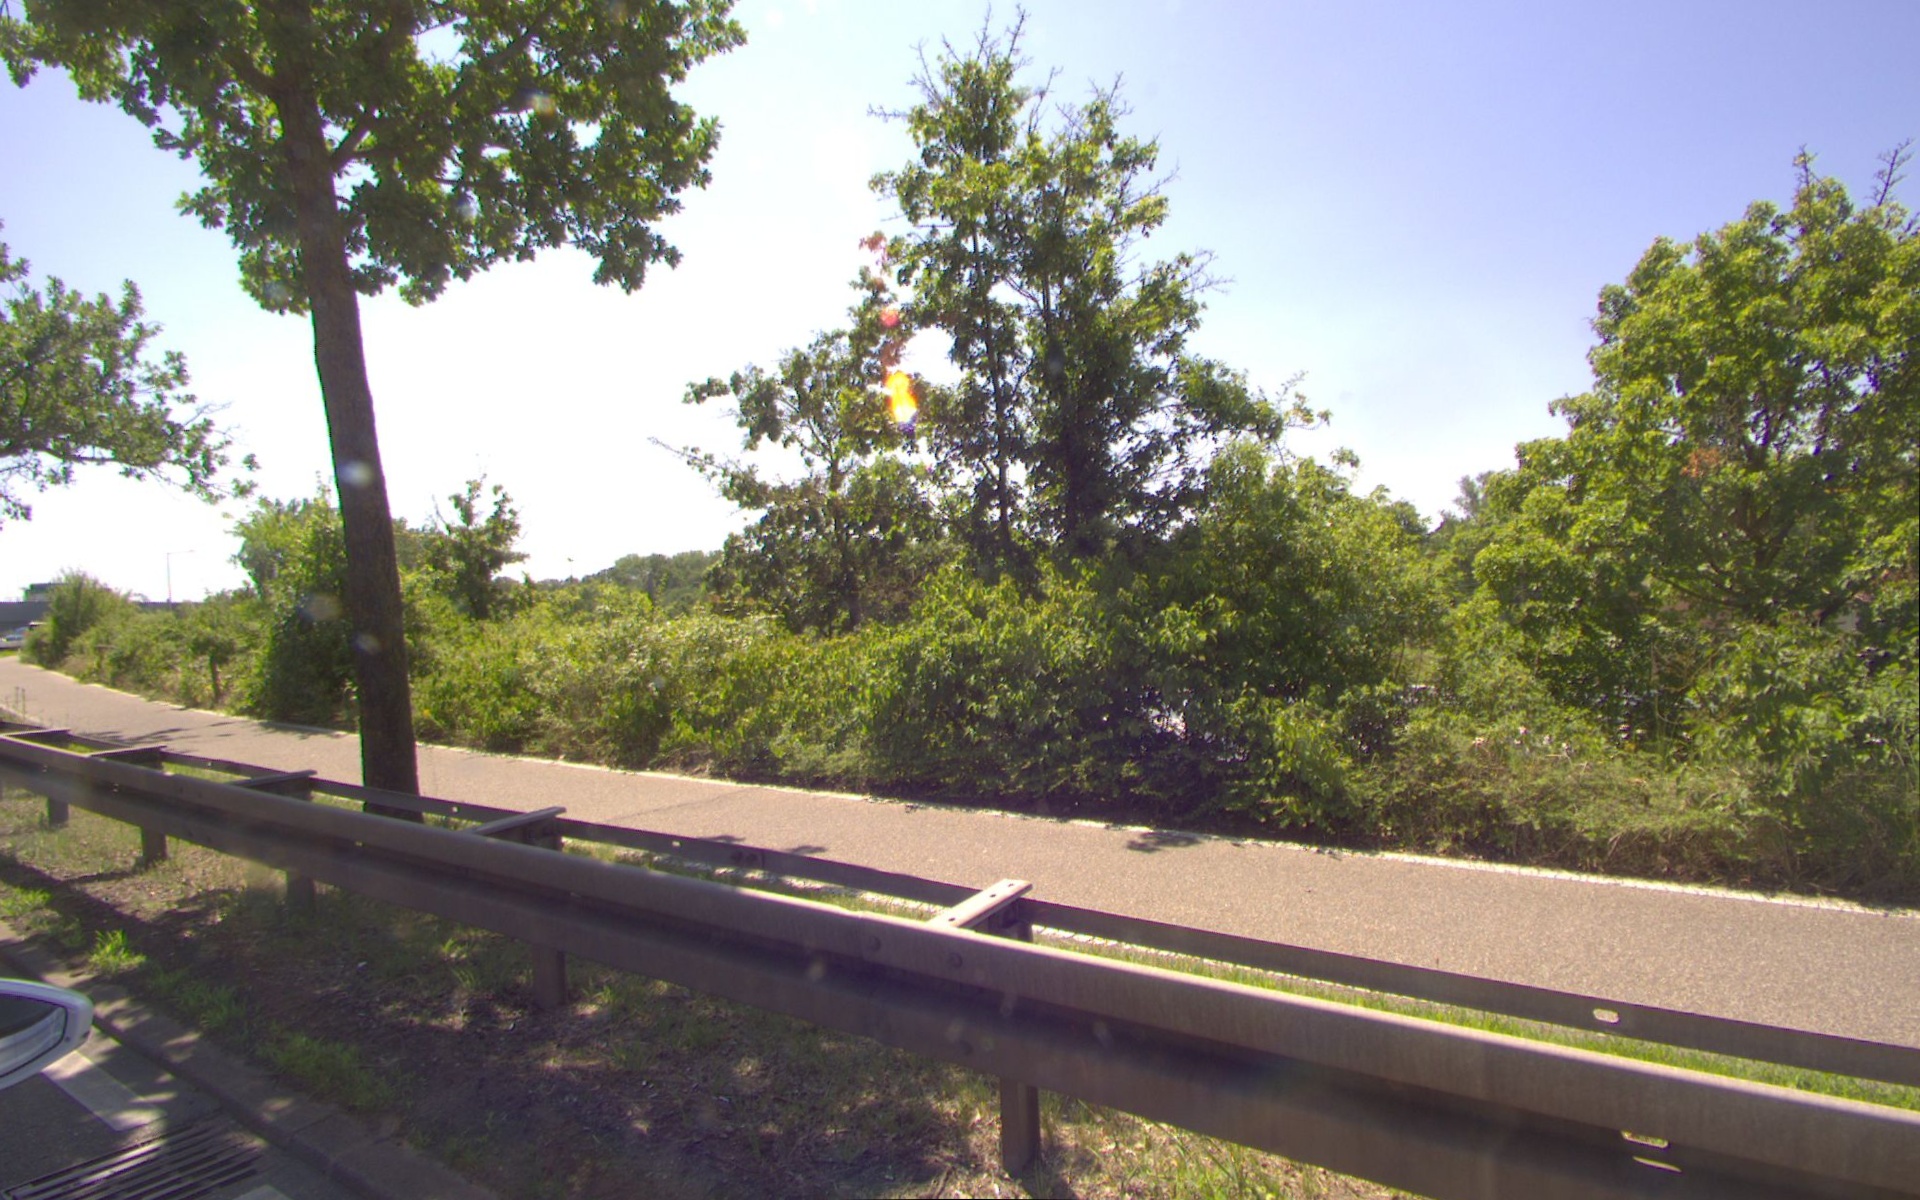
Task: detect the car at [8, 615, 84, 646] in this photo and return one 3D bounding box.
[{"bbox_3d":[-53.341,1.793,58.533,1.969,1.734,4.603,1,-2,-25],"label":"car"}]
